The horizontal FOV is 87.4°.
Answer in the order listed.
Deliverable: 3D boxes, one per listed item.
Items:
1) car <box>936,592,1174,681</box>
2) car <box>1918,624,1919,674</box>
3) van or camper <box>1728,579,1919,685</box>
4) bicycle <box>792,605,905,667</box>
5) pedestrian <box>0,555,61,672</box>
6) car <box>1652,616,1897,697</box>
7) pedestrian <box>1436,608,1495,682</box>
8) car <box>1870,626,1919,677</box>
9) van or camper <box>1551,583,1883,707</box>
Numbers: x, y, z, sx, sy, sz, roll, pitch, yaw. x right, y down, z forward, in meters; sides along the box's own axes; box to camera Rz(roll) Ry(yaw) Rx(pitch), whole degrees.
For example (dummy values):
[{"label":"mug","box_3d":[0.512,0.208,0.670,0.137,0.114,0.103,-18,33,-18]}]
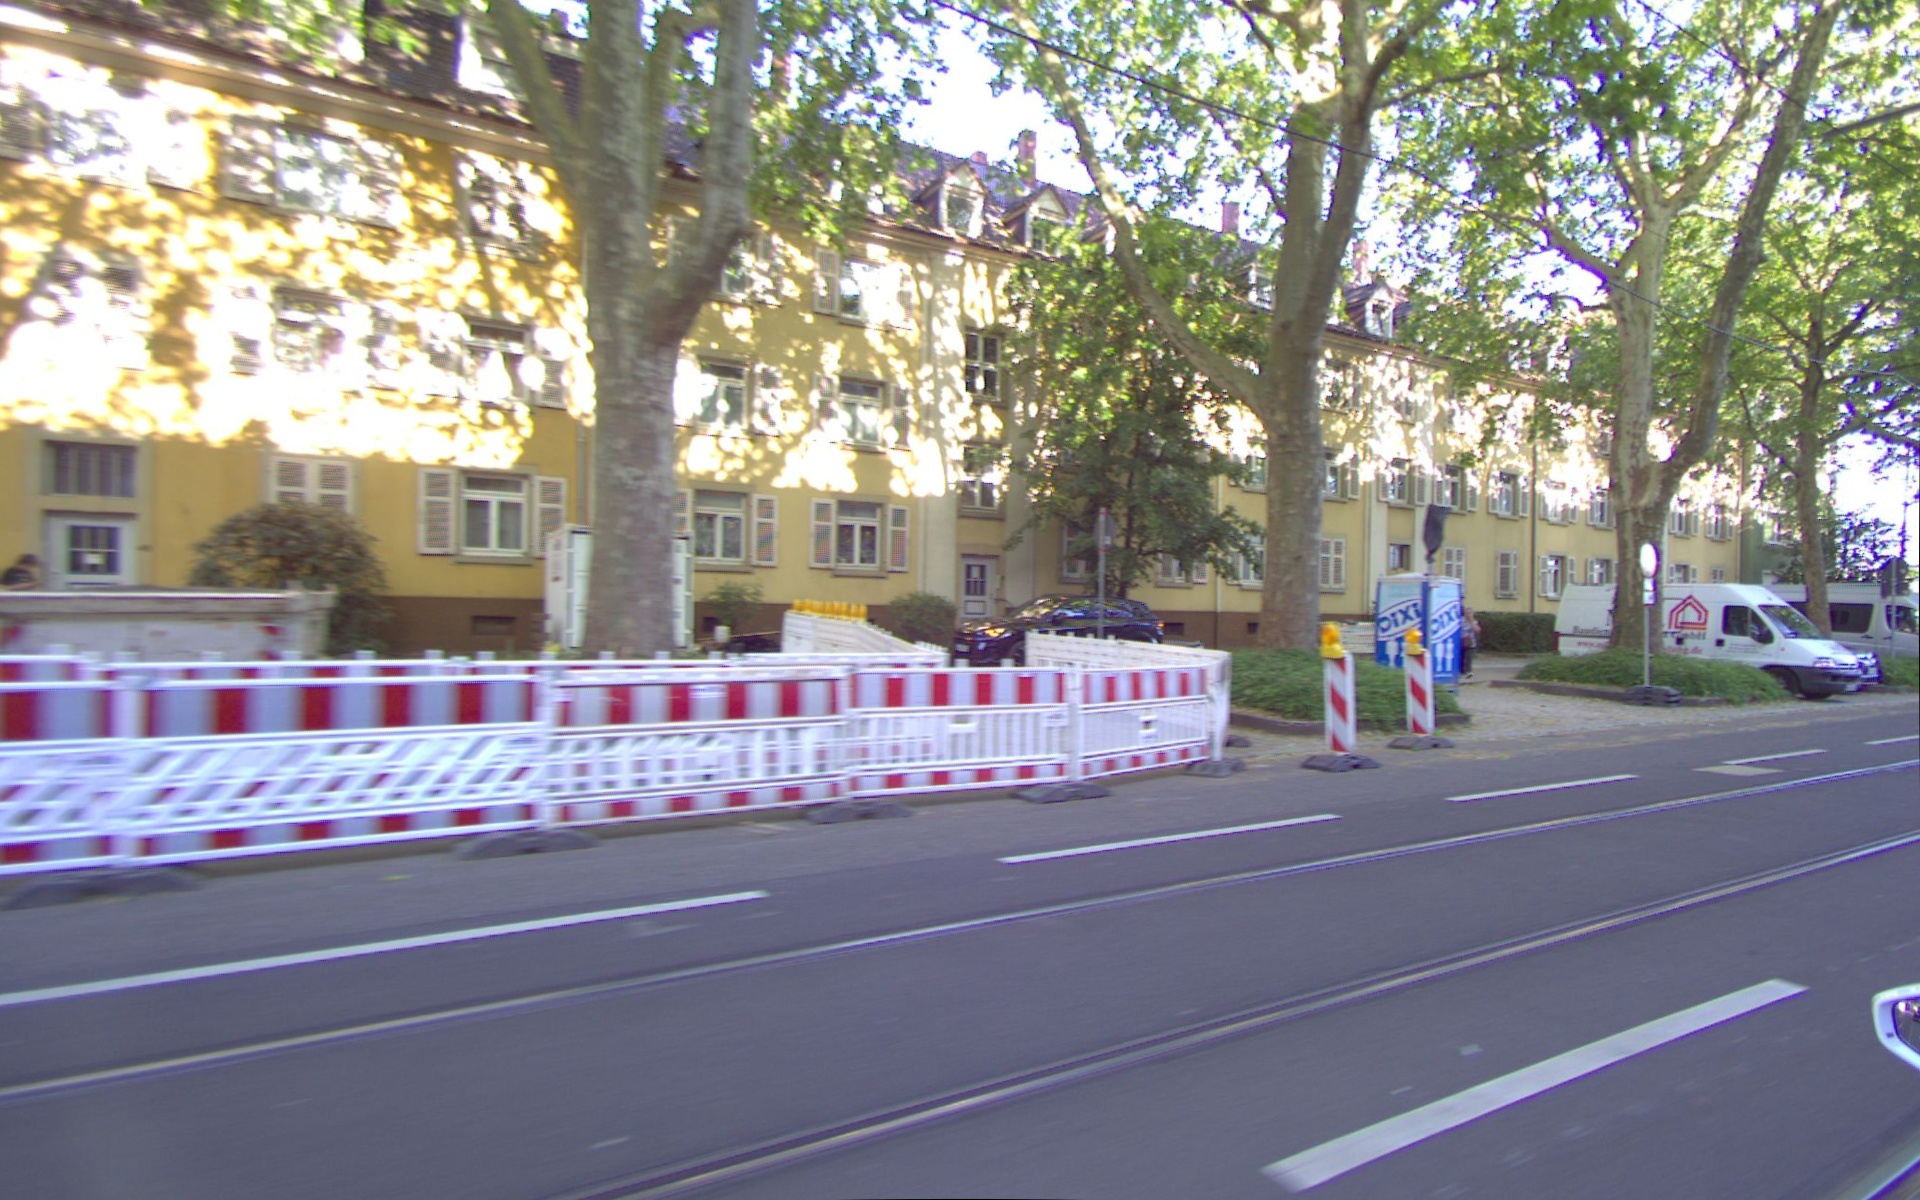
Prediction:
[{"label":"car","box_3d":[1.926,0.709,20.094,4.460,1.592,1.784,1,1,-26]},{"label":"car","box_3d":[33.536,1.686,32.072,1.630,1.673,3.969,1,0,-29]},{"label":"van or camper","box_3d":[24.581,0.817,27.092,2.242,2.679,5.697,1,0,-29]},{"label":"bicycle","box_3d":[-2.152,0.693,19.447,2.086,1.156,0.623,1,0,-27]},{"label":"pedestrian","box_3d":[-13.926,0.200,14.923,0.661,1.678,0.670,1,0,31]},{"label":"car","box_3d":[19.177,1.267,23.825,1.944,1.693,4.144,1,-1,-33]},{"label":"pedestrian","box_3d":[11.461,1.009,22.772,0.875,1.634,0.759,1,1,-22]},{"label":"car","box_3d":[31.096,1.670,31.134,1.630,1.535,3.969,1,0,-29]},{"label":"van or camper","box_3d":[16.631,0.859,22.499,2.240,2.411,5.482,1,0,-26]}]
